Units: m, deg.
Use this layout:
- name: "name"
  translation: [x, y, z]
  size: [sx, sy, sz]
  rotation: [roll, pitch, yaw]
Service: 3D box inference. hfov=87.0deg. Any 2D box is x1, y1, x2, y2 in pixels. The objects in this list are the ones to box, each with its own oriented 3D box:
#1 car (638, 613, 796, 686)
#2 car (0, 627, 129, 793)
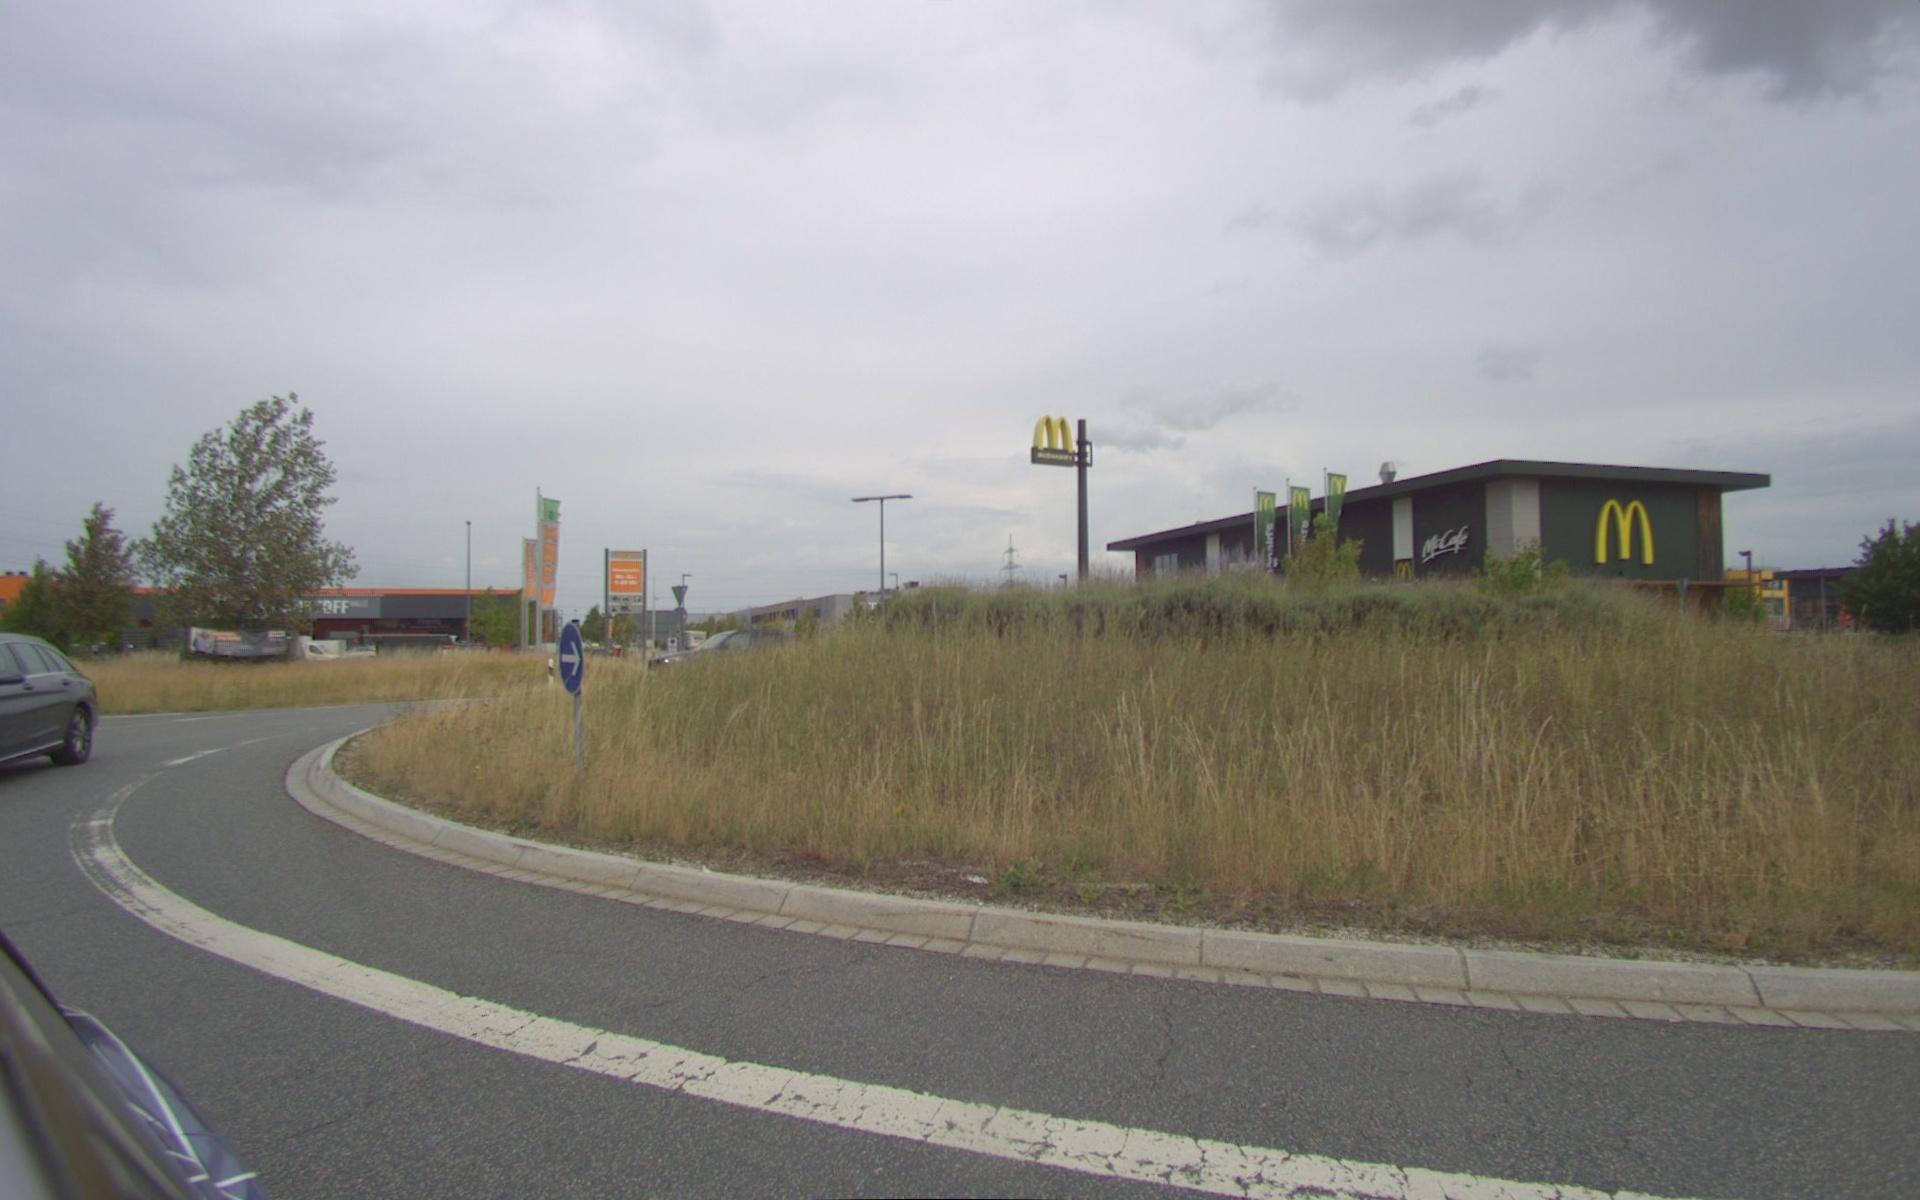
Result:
- name: "car"
  translation: [-6.819, 1.374, 28.395]
  size: [3.931, 1.732, 1.849]
  rotation: [-3, -2, -26]
- name: "car"
  translation: [-9.803, 1.040, 9.430]
  size: [1.874, 1.508, 4.352]
  rotation: [-1, -2, -21]
